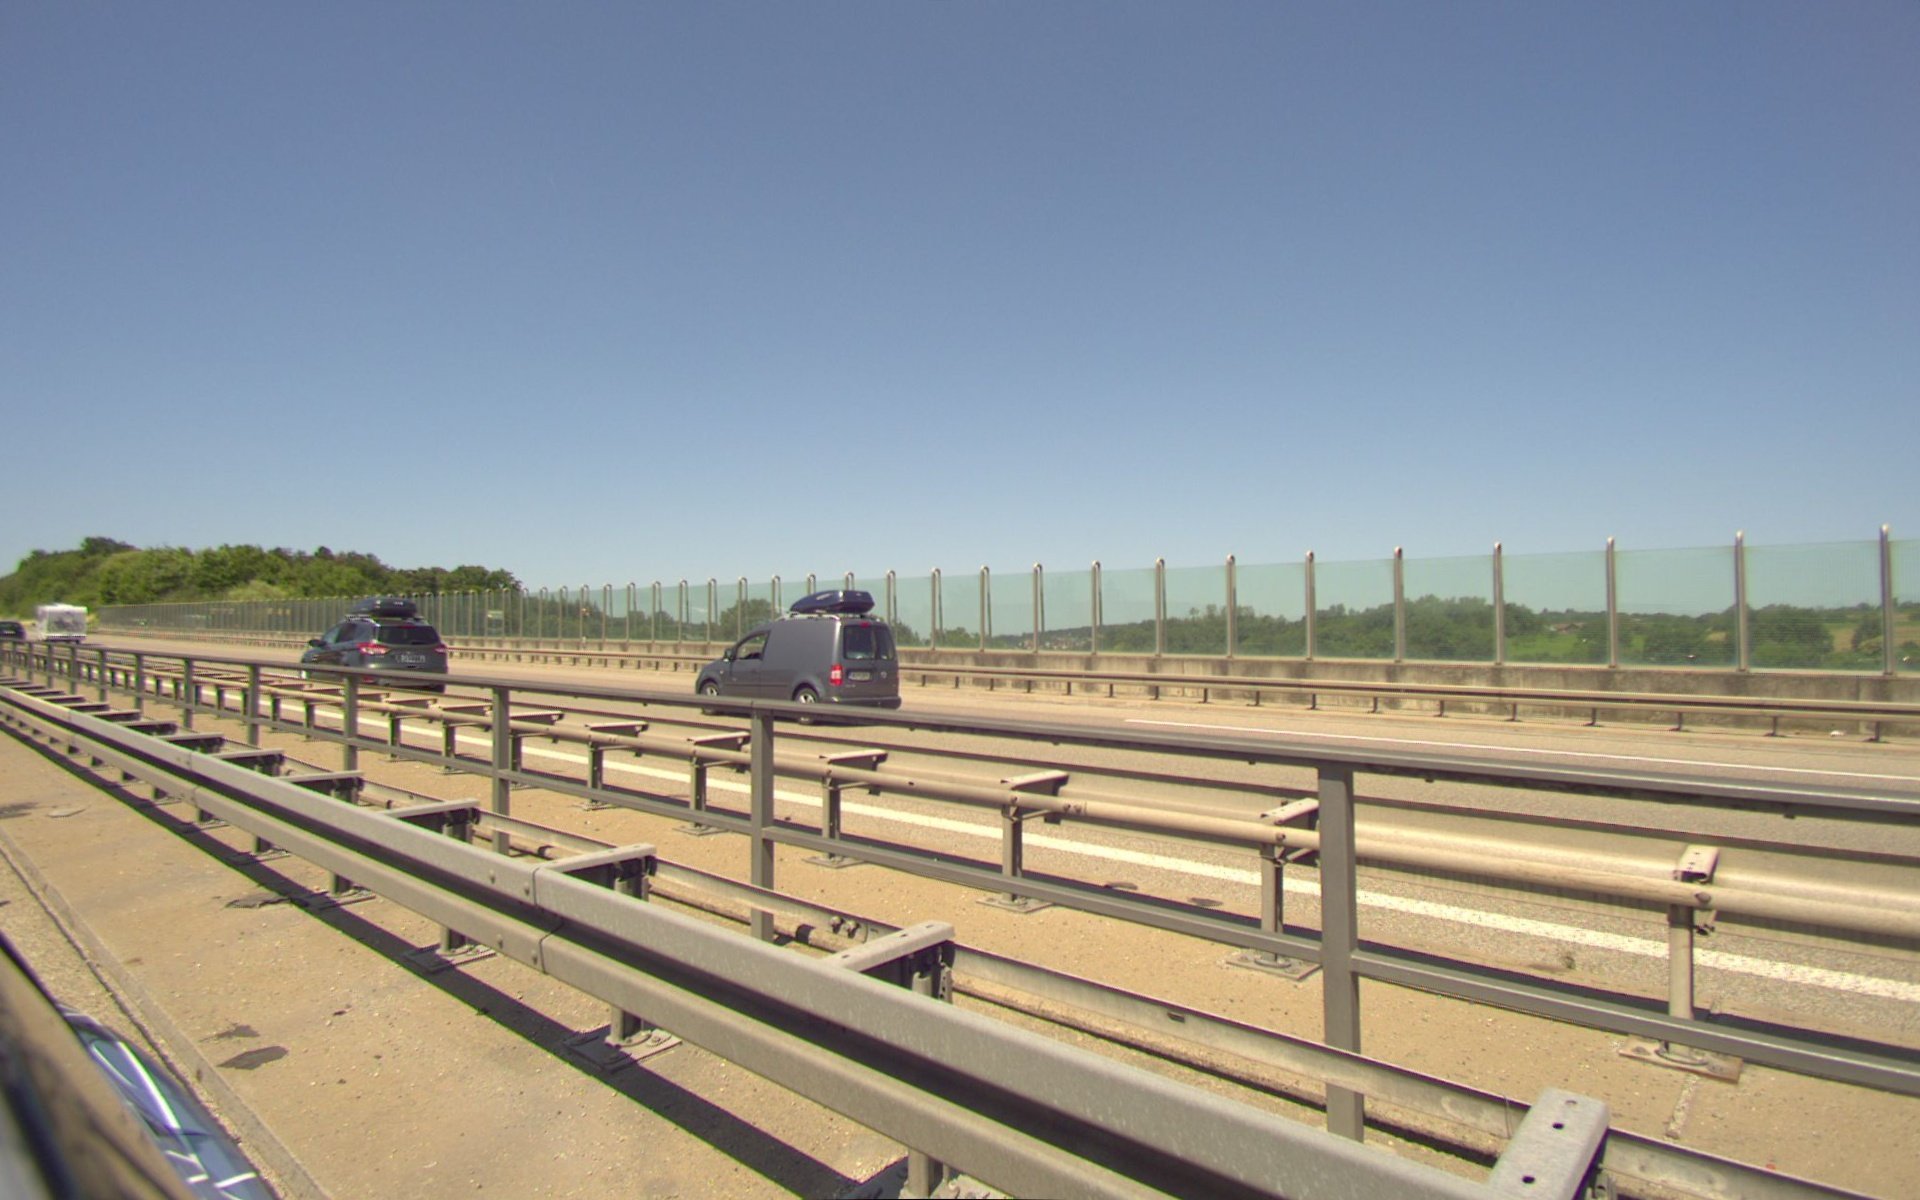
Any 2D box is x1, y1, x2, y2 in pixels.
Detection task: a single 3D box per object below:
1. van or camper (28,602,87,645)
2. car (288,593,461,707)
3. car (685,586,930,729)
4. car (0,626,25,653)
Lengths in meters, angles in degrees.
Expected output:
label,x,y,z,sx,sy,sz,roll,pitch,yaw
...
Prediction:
label,x,y,z,sx,sy,sz,roll,pitch,yaw
van or camper,-67.773,1.821,75.965,7.023,3.047,2.397,-2,-4,41
car,-12.330,1.027,21.212,4.266,2.147,1.843,-2,-4,42
car,-2.777,0.994,17.969,4.265,2.233,1.973,-2,-4,41
car,-63.101,2.582,66.497,4.428,1.713,1.847,-1,-5,41
